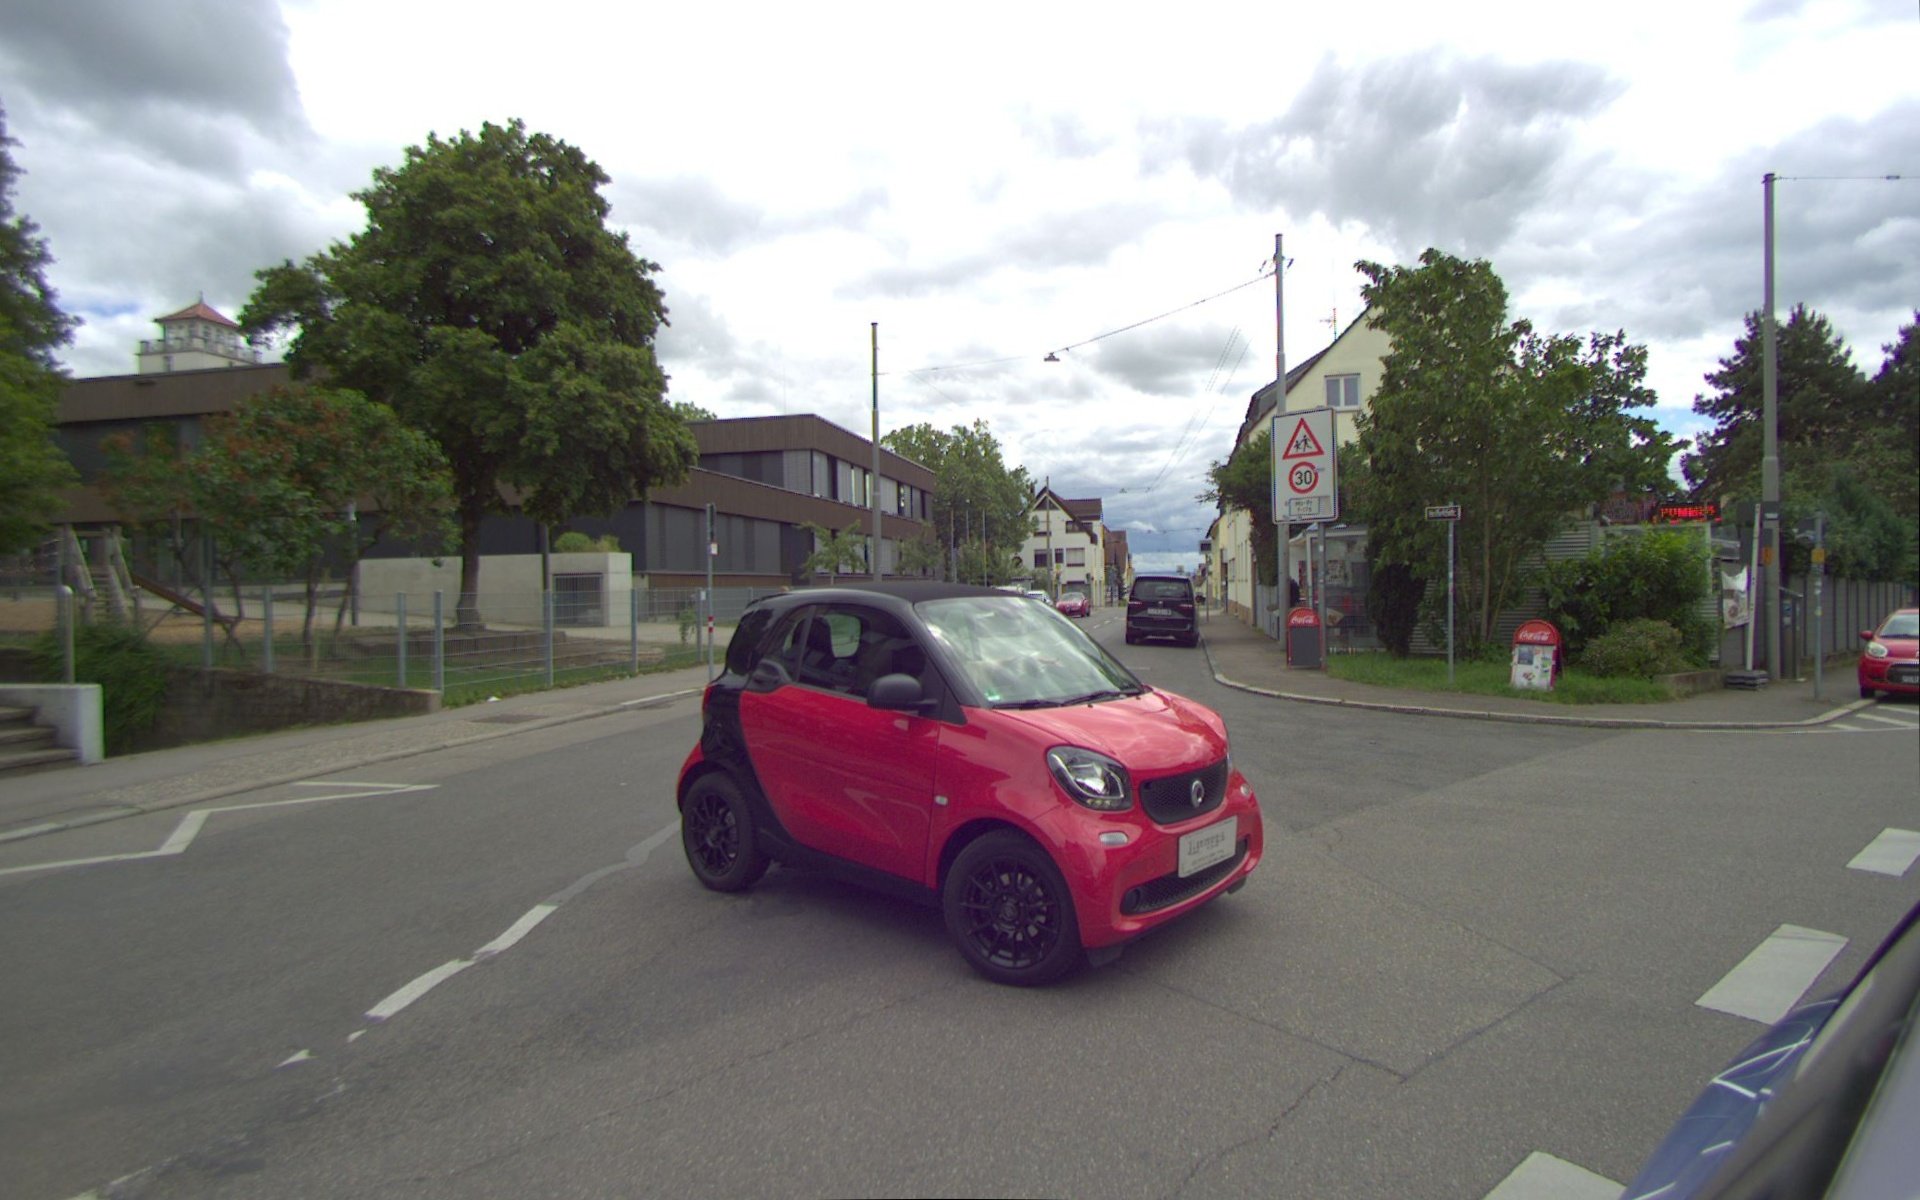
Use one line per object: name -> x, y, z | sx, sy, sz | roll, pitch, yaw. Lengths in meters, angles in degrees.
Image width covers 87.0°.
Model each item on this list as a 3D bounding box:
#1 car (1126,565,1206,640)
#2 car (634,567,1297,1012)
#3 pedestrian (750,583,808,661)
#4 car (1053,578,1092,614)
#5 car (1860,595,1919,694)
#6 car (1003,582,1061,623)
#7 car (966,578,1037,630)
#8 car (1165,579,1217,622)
car -> 5.710, 0.033, 27.994 | 1.969, 1.901, 4.377 | 1, 1, 12
car -> -0.056, 0.633, 5.148 | 2.926, 1.539, 1.794 | 1, 1, 40
pedestrian -> -3.742, 0.443, 20.990 | 0.887, 1.555, 0.956 | 0, 0, 14
car -> 6.622, -0.248, 59.167 | 1.968, 2.039, 4.379 | 1, 1, 11
car -> 16.220, 0.682, 16.491 | 3.928, 1.499, 1.718 | 0, 1, -39
car -> 3.131, 0.068, 43.314 | 1.968, 1.625, 4.379 | 1, 1, 11
car -> 1.595, 0.094, 36.924 | 1.968, 1.763, 4.379 | 1, 1, 11
car -> 9.562, -0.011, 41.995 | 1.969, 1.694, 4.377 | 1, 1, 12
